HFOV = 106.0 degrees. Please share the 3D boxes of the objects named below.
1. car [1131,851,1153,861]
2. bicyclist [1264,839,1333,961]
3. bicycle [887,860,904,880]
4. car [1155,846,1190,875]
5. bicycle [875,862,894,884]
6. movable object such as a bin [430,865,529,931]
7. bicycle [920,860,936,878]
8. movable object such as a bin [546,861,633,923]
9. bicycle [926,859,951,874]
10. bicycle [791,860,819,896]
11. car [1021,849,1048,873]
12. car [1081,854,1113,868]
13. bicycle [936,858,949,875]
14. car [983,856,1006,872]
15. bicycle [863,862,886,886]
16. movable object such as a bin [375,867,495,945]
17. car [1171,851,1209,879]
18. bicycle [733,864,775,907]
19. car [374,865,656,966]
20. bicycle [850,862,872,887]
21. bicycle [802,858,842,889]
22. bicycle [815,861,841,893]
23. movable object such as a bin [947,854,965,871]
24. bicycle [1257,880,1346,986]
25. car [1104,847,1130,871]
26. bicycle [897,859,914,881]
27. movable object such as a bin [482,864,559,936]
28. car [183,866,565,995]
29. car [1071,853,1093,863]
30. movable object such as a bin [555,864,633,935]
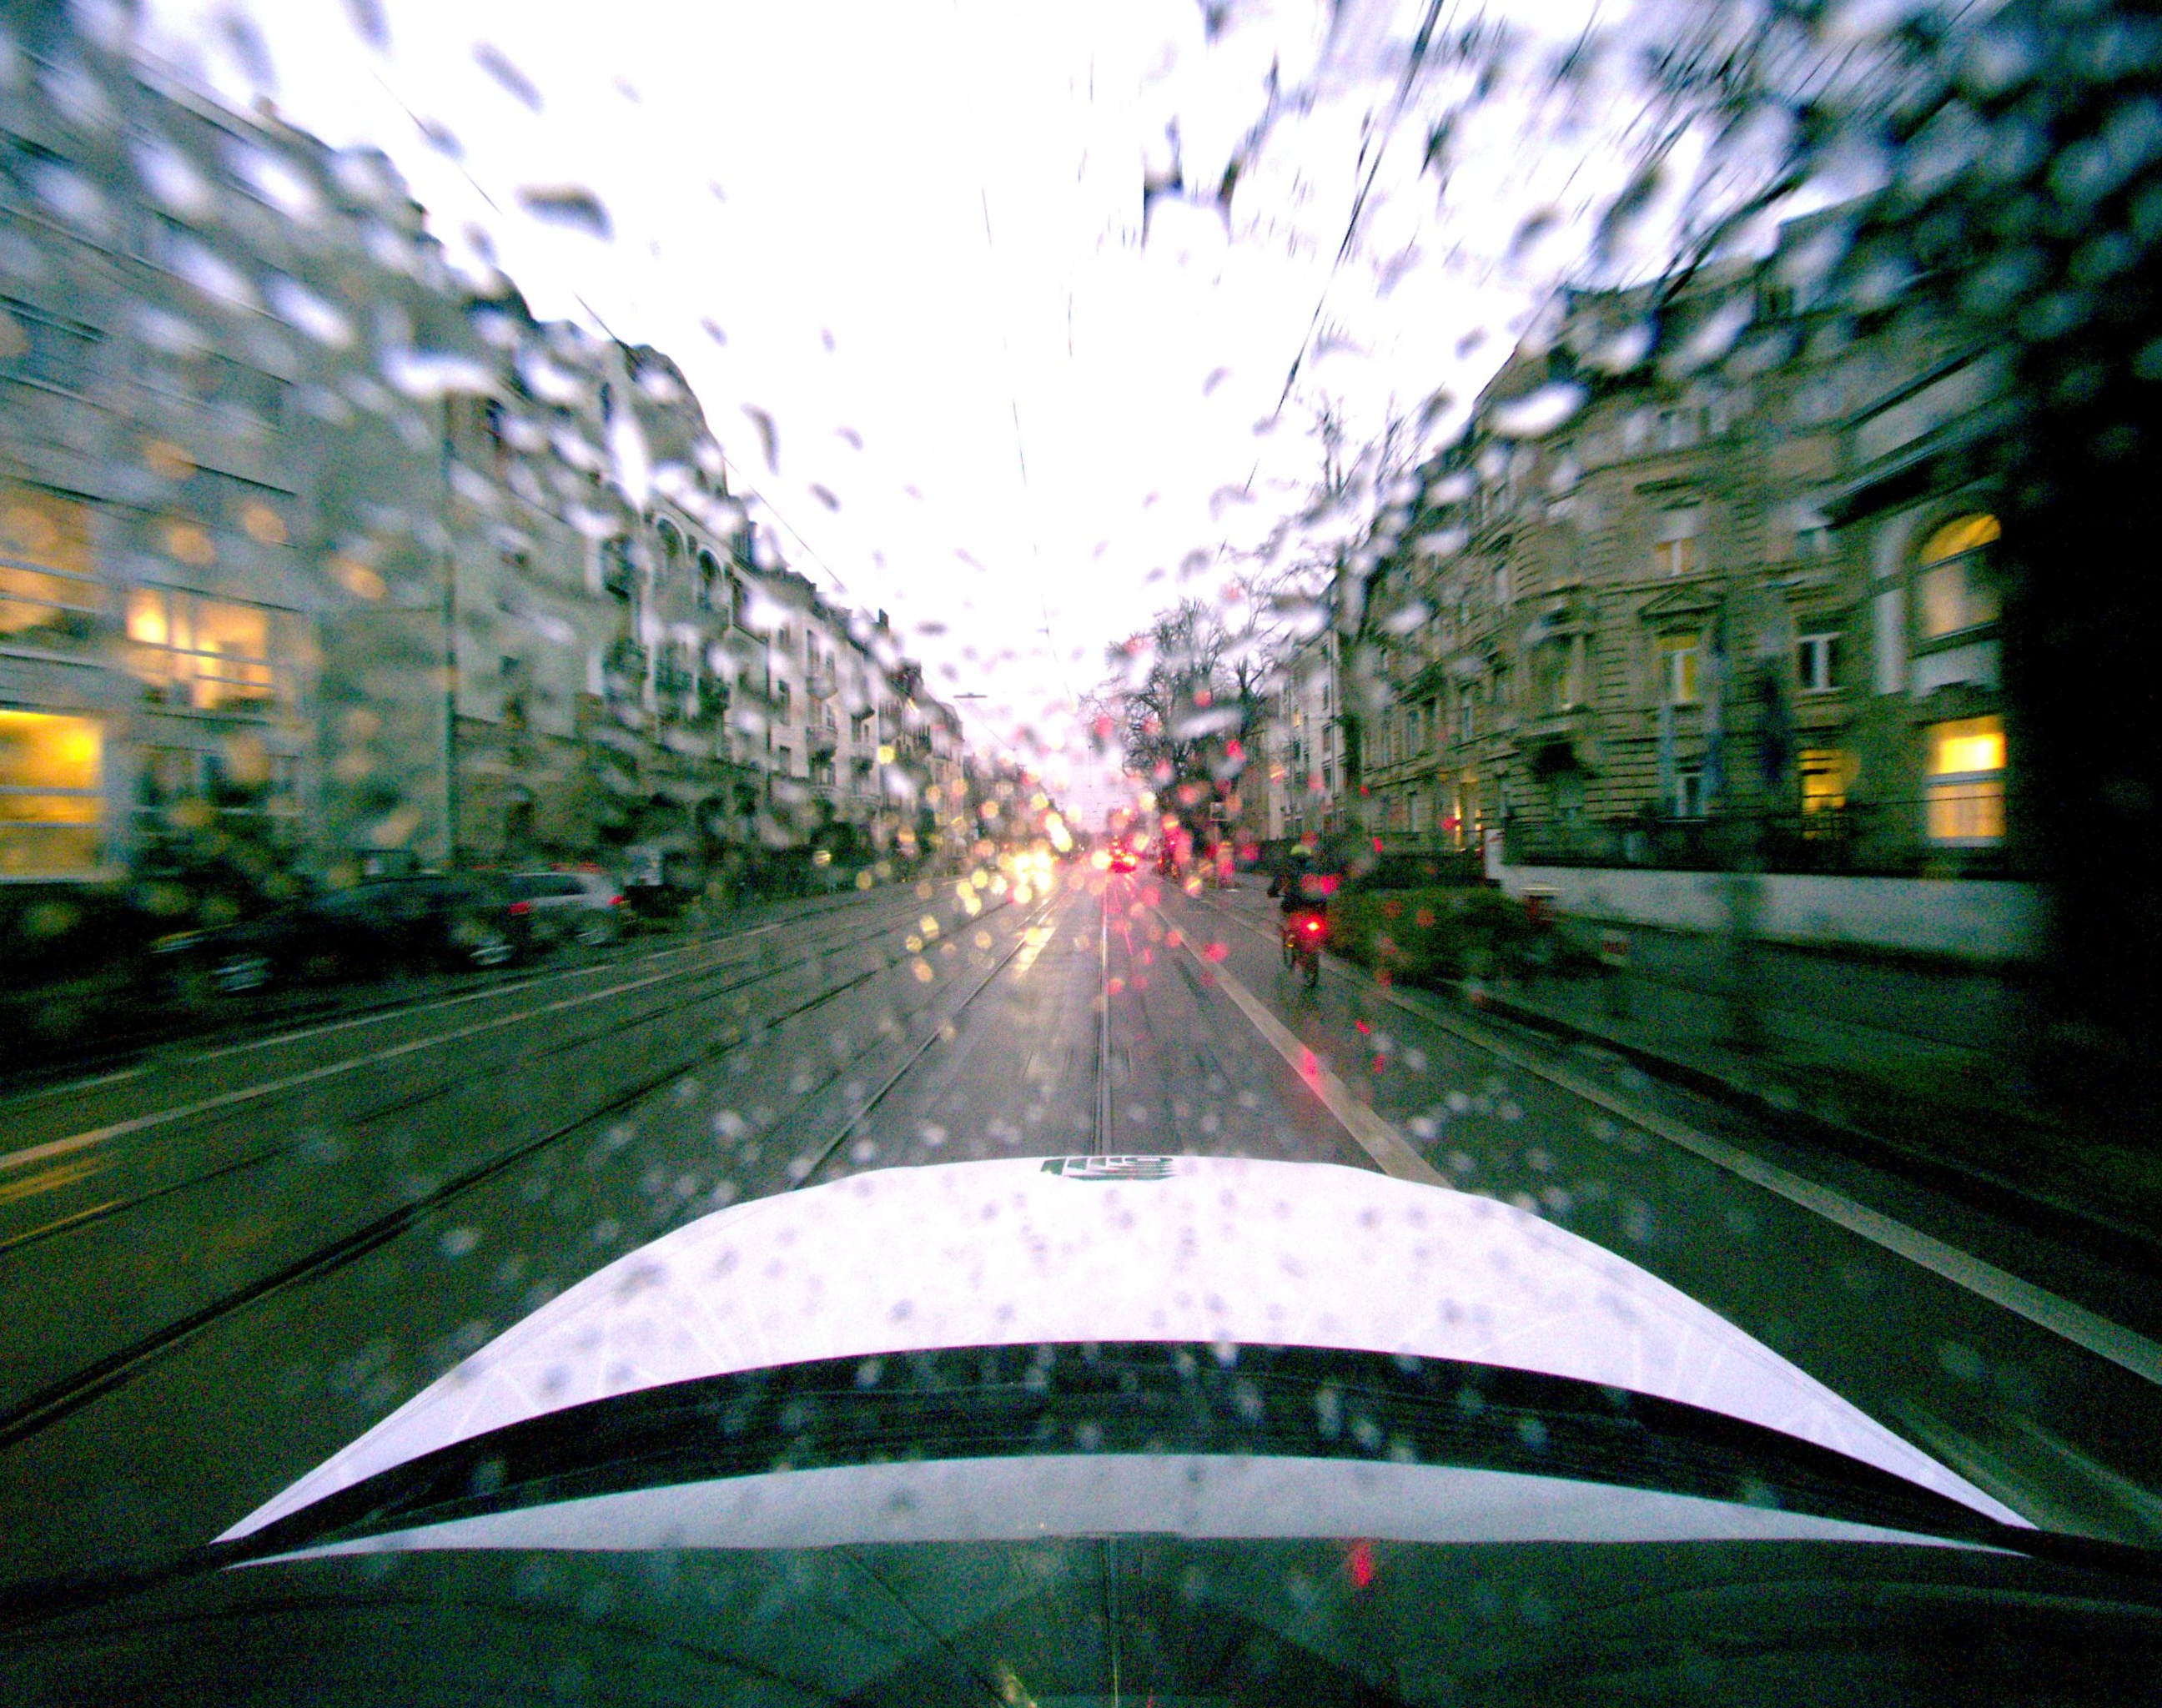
[{"bbox_3d":[11.472,0.291,153.426,3.967,1.717,1.907,-2,1,6],"label":"car"},{"bbox_3d":[2.691,0.544,10.135,0.653,1.446,0.850,-2,1,4],"label":"bicyclist"},{"bbox_3d":[-9.641,0.819,42.302,0.691,1.031,1.592,-2,-1,-8],"label":"bicycle"},{"bbox_3d":[6.545,0.417,58.879,1.987,1.900,5.028,-2,1,1],"label":"car"},{"bbox_3d":[-9.674,0.931,40.161,0.691,1.031,1.592,-2,-1,-8],"label":"bicycle"},{"bbox_3d":[-14.245,1.013,19.340,1.256,1.450,1.329,-2,1,8],"label":"movable object such as a bin"},{"bbox_3d":[-9.346,0.905,49.753,0.623,1.017,1.805,-2,0,0],"label":"bicycle"},{"bbox_3d":[-12.396,0.941,20.588,1.256,1.450,1.329,-2,1,8],"label":"movable object such as a bin"},{"bbox_3d":[-10.702,0.921,61.130,1.802,1.080,0.615,-2,1,-6],"label":"bicycle"},{"bbox_3d":[-9.904,0.851,29.246,0.629,1.212,1.592,-2,1,-8],"label":"bicycle"},{"bbox_3d":[-4.007,0.535,70.755,2.039,1.922,5.099,-2,1,0],"label":"car"},{"bbox_3d":[2.027,0.890,104.120,3.970,1.728,1.741,-2,1,3],"label":"car"},{"bbox_3d":[-9.301,0.827,54.696,0.613,1.080,1.809,-2,1,-3],"label":"bicycle"},{"bbox_3d":[-8.717,1.001,82.310,1.826,1.447,4.002,-2,1,2],"label":"car"},{"bbox_3d":[-9.728,0.956,38.391,0.690,1.031,1.594,-2,-3,-3],"label":"bicycle"},{"bbox_3d":[-12.912,1.017,16.322,1.256,1.450,1.329,-2,1,8],"label":"movable object such as a bin"},{"bbox_3d":[6.246,0.594,47.156,1.671,1.460,4.043,-2,0,1],"label":"car"},{"bbox_3d":[-9.963,0.936,24.884,0.691,1.212,1.594,-2,1,-4],"label":"bicycle"},{"bbox_3d":[-10.238,0.996,14.895,4.022,1.428,1.826,-2,1,-41],"label":"car"},{"bbox_3d":[-9.835,0.918,36.435,0.691,1.031,1.590,-2,-4,-8],"label":"bicycle"},{"bbox_3d":[-11.348,0.872,35.702,1.582,1.264,0.490,-2,-5,5],"label":"bicycle"},{"bbox_3d":[-9.962,0.890,32.142,0.691,1.212,1.592,-2,1,-8],"label":"bicycle"},{"bbox_3d":[-11.745,0.757,76.570,1.404,1.530,1.365,-2,1,1],"label":"movable object such as a bin"},{"bbox_3d":[2.724,0.932,10.274,0.704,1.096,2.032,-2,1,5],"label":"bicycle"},{"bbox_3d":[2.918,0.408,66.569,1.987,1.897,4.759,0,-1,1],"label":"car"},{"bbox_3d":[-9.607,0.862,44.699,0.484,1.099,1.931,-2,0,0],"label":"bicycle"},{"bbox_3d":[-12.157,0.976,17.710,1.092,1.450,1.104,-2,1,-20],"label":"movable object such as a bin"},{"bbox_3d":[-10.209,0.972,12.076,4.023,1.470,1.809,-2,0,-44],"label":"car"},{"bbox_3d":[0.197,0.668,153.853,3.972,1.717,1.904,-2,1,1],"label":"car"},{"bbox_3d":[-10.814,0.977,18.149,1.267,1.450,1.104,-2,1,-21],"label":"movable object such as a bin"}]
